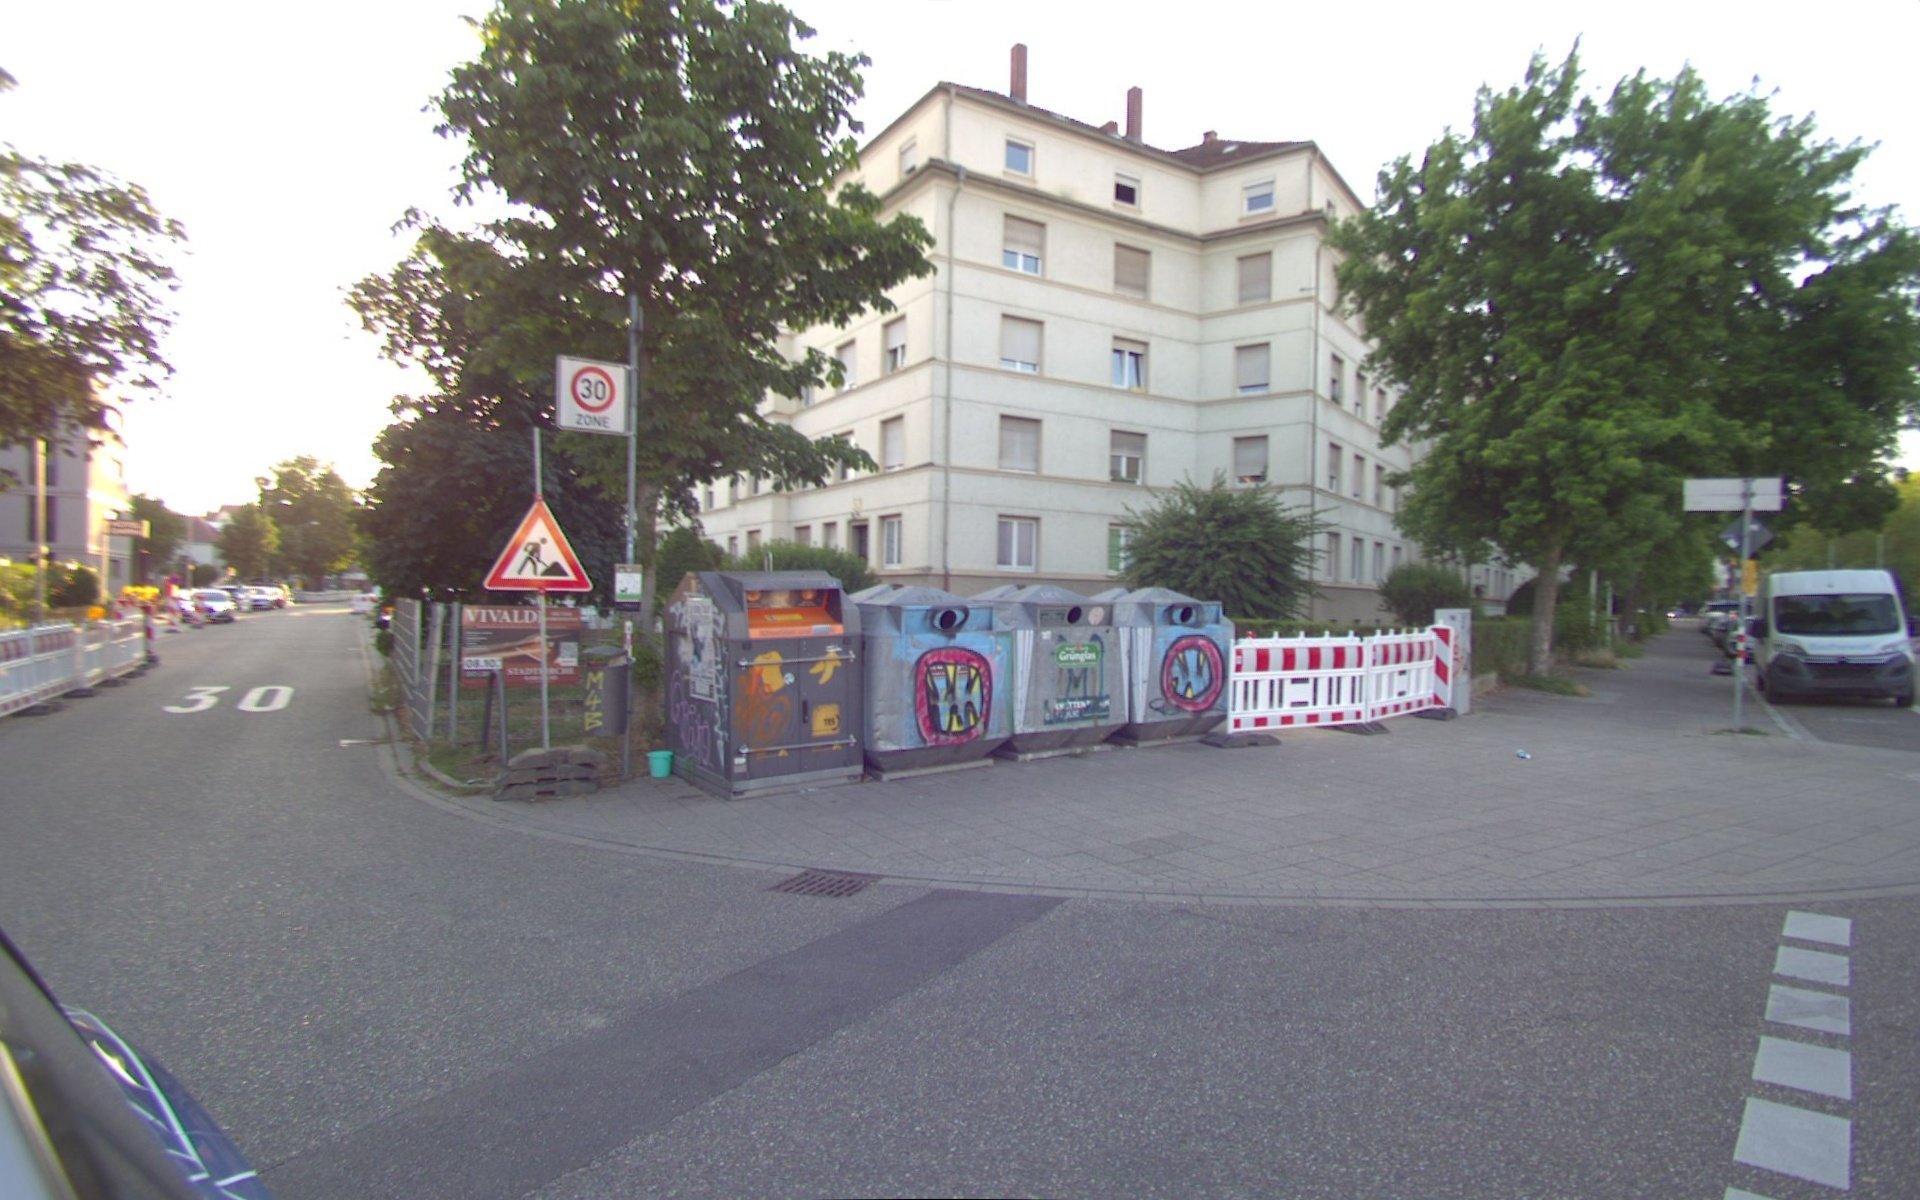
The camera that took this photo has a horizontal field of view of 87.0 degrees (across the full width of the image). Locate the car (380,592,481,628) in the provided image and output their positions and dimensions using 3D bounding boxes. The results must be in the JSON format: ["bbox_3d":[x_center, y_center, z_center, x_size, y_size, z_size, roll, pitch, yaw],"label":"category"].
[{"bbox_3d":[-23.516,0.407,44.978,3.922,1.500,1.733,0,2,-30],"label":"car"}]

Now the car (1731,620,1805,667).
[{"bbox_3d":[27.695,1.468,34.797,1.758,1.494,3.879,-2,-2,36],"label":"car"}]

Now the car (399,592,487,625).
[{"bbox_3d":[-24.526,0.378,48.009,3.626,1.495,1.734,0,2,-29],"label":"car"}]

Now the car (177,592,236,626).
[{"bbox_3d":[-33.023,0.372,44.428,1.751,1.407,4.119,1,0,-32],"label":"car"}]

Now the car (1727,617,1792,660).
[{"bbox_3d":[31.083,1.473,39.423,1.758,1.616,3.879,-2,-2,36],"label":"car"}]

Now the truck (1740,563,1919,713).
[{"bbox_3d":[16.563,0.656,19.529,2.104,2.441,5.973,-1,-1,35],"label":"truck"}]

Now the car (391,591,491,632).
[{"bbox_3d":[-21.452,0.441,41.866,3.429,1.578,1.732,-1,2,-37],"label":"car"}]

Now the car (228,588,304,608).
[{"bbox_3d":[-54.376,-0.138,79.420,4.751,1.408,1.775,2,-1,-31],"label":"car"}]

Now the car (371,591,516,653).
[{"bbox_3d":[-15.004,0.600,29.416,3.574,1.568,1.698,-3,2,-32],"label":"car"}]

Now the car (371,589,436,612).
[{"bbox_3d":[-36.573,0.021,66.516,3.649,1.495,1.733,-1,1,-34],"label":"car"}]

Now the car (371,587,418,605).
[{"bbox_3d":[-65.886,-0.453,118.066,4.707,2.085,2.007,1,0,-27],"label":"car"}]

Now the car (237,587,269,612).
[{"bbox_3d":[-44.740,-0.042,64.091,1.592,1.480,4.007,1,0,-34],"label":"car"}]

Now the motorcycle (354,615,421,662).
[{"bbox_3d":[-14.416,0.954,25.549,0.531,1.028,2.213,-2,1,-3],"label":"motorcycle"}]

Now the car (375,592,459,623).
[{"bbox_3d":[-26.782,0.358,49.962,3.626,1.456,1.734,0,2,-29],"label":"car"}]

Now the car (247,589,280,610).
[{"bbox_3d":[-50.421,-0.054,73.314,1.716,1.480,3.770,1,0,-31],"label":"car"}]

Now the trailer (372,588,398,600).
[{"bbox_3d":[-97.691,-1.034,171.951,3.626,2.084,2.006,0,0,-18],"label":"trailer"}]
